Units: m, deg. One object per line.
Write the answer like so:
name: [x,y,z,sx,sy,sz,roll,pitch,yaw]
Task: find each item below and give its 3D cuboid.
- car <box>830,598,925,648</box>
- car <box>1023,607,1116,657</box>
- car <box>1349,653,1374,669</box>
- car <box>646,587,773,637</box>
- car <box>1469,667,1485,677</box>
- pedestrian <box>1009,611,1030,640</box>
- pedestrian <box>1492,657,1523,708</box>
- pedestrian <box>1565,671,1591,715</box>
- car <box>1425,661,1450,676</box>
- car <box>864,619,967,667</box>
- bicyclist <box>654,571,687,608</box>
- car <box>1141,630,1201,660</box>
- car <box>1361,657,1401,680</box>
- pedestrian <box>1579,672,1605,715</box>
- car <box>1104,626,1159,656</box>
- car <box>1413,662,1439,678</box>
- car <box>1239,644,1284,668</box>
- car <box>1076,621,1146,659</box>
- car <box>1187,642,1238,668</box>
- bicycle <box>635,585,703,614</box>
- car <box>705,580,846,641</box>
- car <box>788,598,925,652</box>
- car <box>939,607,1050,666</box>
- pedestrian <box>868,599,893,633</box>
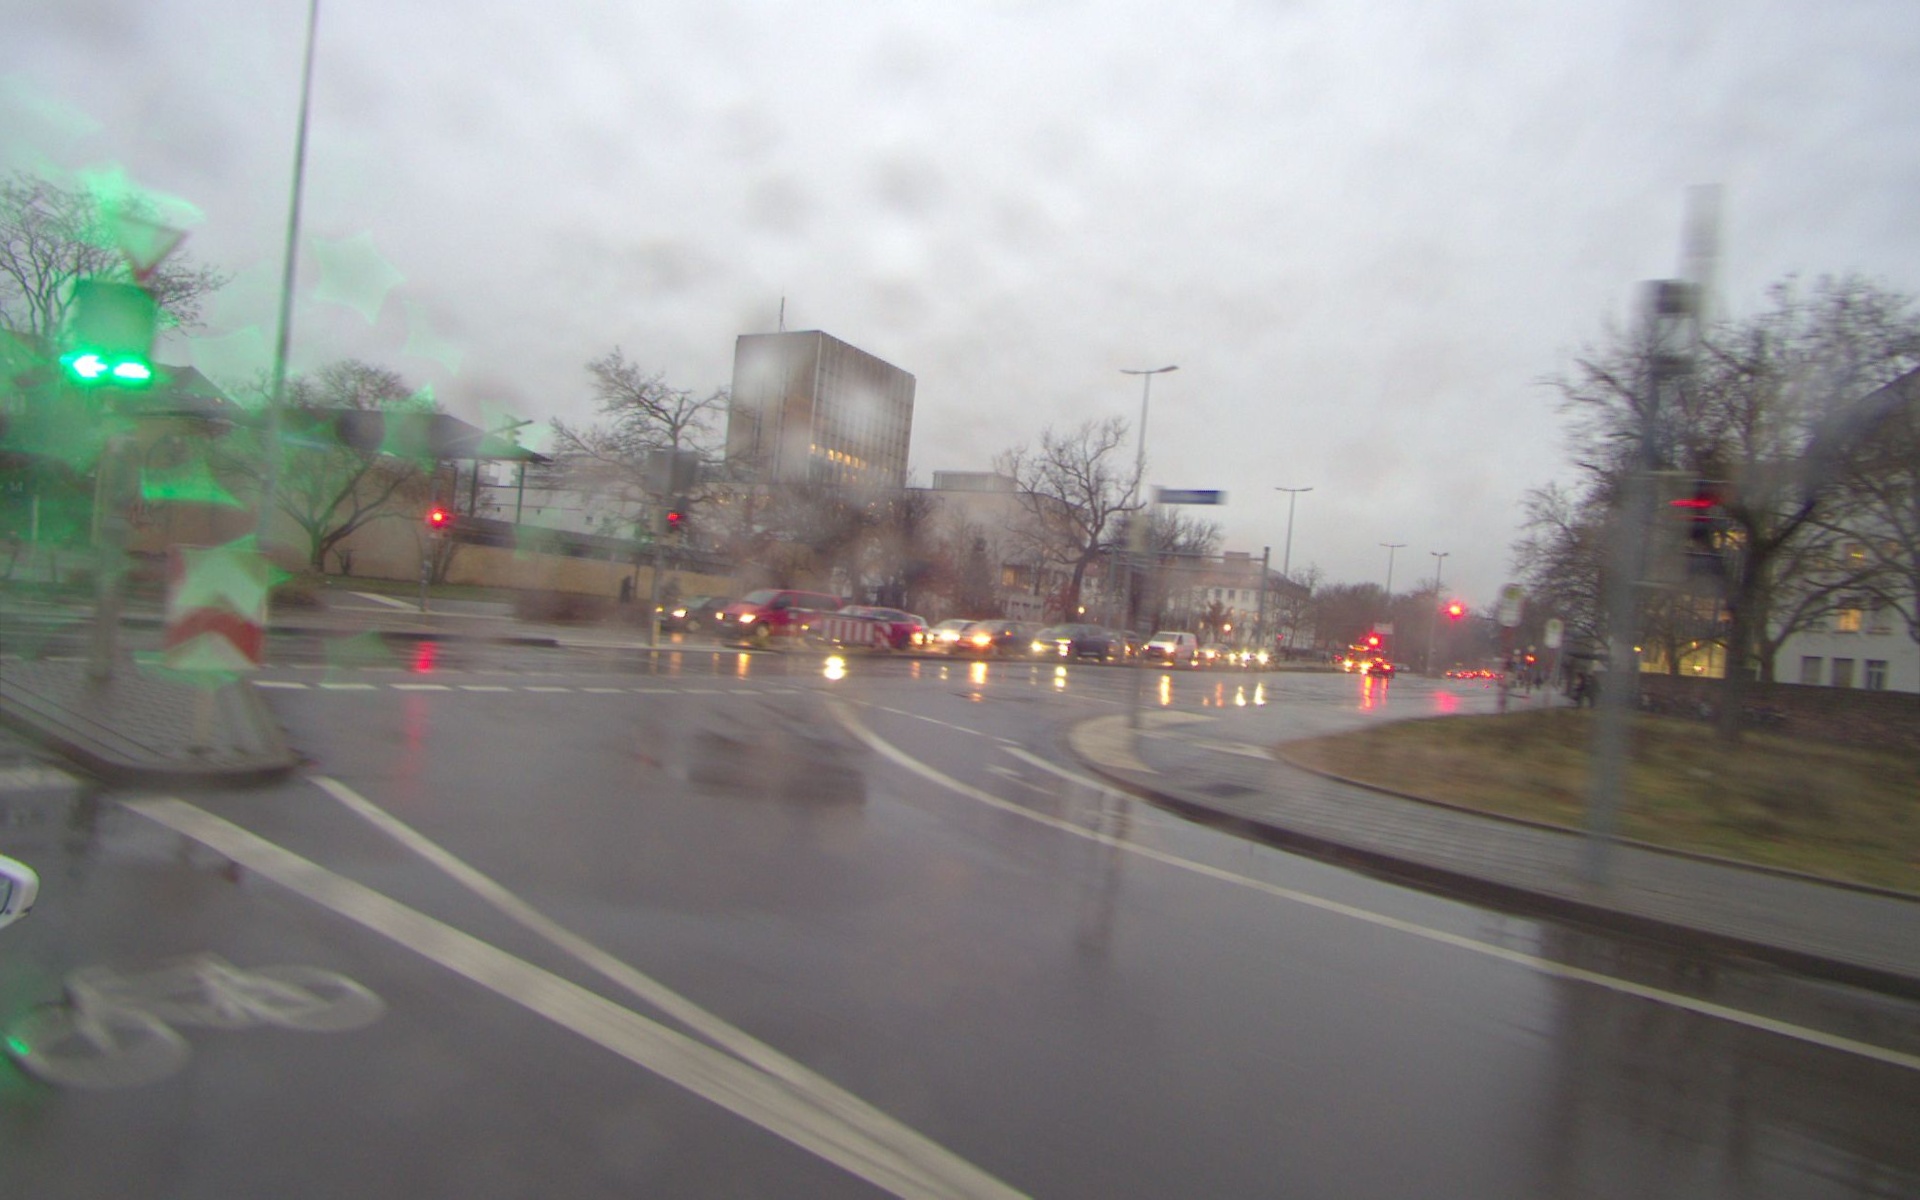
car: [-3.651,1.064,45.125,1.970,1.861,3.985,6,0,37]
car: [4.853,1.445,44.002,1.968,1.772,4.456,9,2,35]
car: [52.566,7.996,131.615,2.109,1.839,3.987,7,1,34]
car: [-9.300,0.482,37.679,1.747,1.505,4.456,7,0,35]
car: [98.499,13.710,191.712,1.969,1.587,4.456,8,0,36]
pedestrian: [4.071,1.739,68.664,0.919,1.849,0.831,7,2,35]
pedestrian: [20.945,3.145,38.477,0.795,1.854,0.945,7,2,32]
pedestrian: [27.814,4.159,45.286,0.795,1.854,0.945,7,2,32]
car: [60.198,8.641,126.803,1.969,1.587,4.456,8,0,36]
car: [-1.829,1.872,43.060,1.969,1.772,4.456,7,1,35]
bicyclist: [-12.474,-0.453,43.311,0.756,1.509,0.991,6,1,36]
car: [13.609,2.909,64.730,1.968,1.587,4.746,8,1,35]
car: [35.775,5.810,85.428,1.969,1.587,4.456,8,0,36]
pedestrian: [29.057,4.308,46.265,0.795,1.854,0.945,7,2,32]
car: [11.530,2.752,67.358,1.969,1.688,3.987,7,1,35]
car: [55.191,8.281,119.162,1.968,1.587,4.458,8,0,35]
car: [24.248,4.505,80.837,1.968,1.587,4.456,8,1,35]
car: [8.841,2.355,58.618,1.968,1.588,4.456,17,6,34]
car: [18.324,3.988,72.961,1.968,1.587,4.456,8,1,35]
bicycle: [-12.519,-0.003,43.330,0.782,1.028,2.893,7,1,35]
car: [-6.562,0.418,36.344,1.969,1.772,4.929,7,1,35]
car: [-3.305,0.850,32.842,1.901,1.393,4.483,7,0,35]
car: [1.409,1.459,39.173,1.968,1.772,4.456,14,5,35]
pedestrian: [-4.540,0.927,57.465,0.919,1.849,0.831,7,2,35]
